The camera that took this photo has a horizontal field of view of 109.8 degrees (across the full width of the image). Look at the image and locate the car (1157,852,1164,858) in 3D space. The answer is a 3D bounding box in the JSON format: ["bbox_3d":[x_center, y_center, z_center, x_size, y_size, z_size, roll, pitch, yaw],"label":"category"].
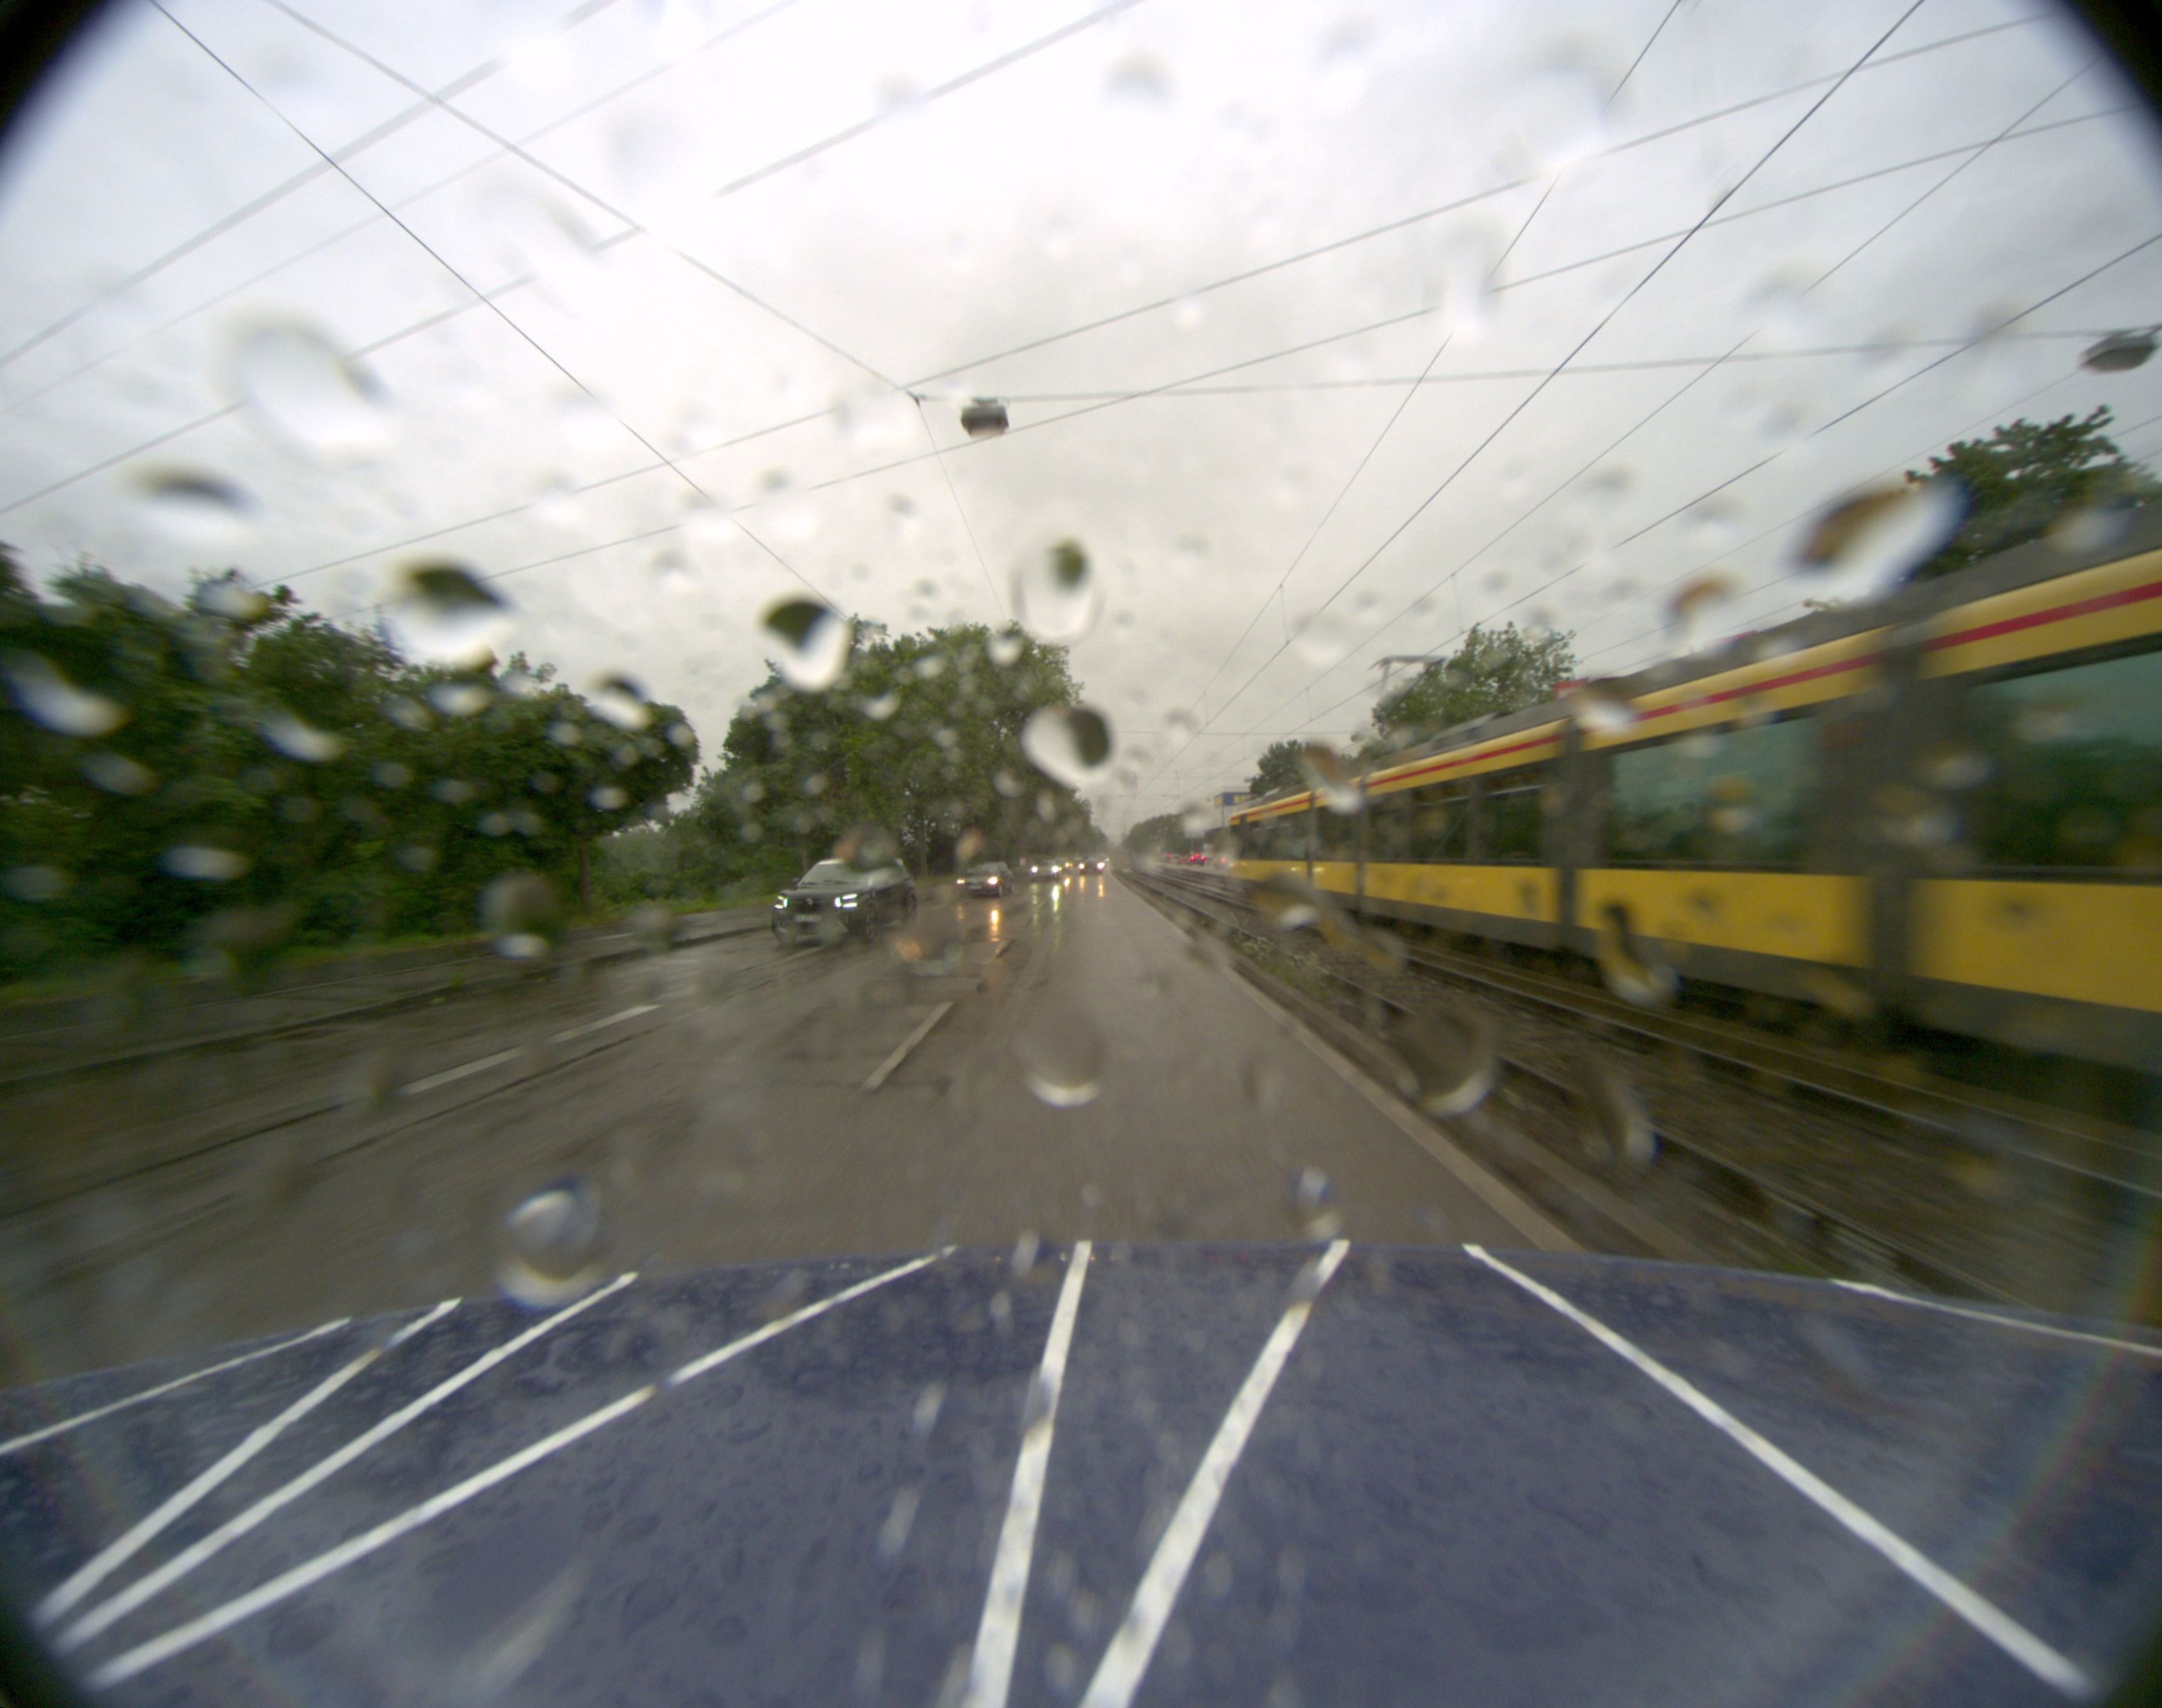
[{"bbox_3d":[20.654,0.213,196.970,1.648,1.536,4.001,0,0,4],"label":"car"}]

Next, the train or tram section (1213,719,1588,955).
[{"bbox_3d":[6.692,-0.202,21.150,2.872,3.683,17.890,-2,0,0],"label":"train or tram section"}]

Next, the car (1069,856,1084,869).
[{"bbox_3d":[-0.502,1.062,98.546,1.846,1.572,3.838,-2,0,0],"label":"car"}]

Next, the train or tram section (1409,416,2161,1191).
[{"bbox_3d":[6.584,-0.281,2.097,2.893,3.683,19.530,-2,0,0],"label":"train or tram section"}]

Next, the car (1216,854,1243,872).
[{"bbox_3d":[14.732,0.886,75.661,1.892,1.632,4.398,-2,0,2],"label":"car"}]

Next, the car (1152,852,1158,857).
[{"bbox_3d":[22.491,0.262,231.594,1.569,1.536,4.002,-2,-1,5],"label":"car"}]

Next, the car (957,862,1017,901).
[{"bbox_3d":[-3.719,1.050,30.735,1.784,1.419,4.001,-1,0,2],"label":"car"}]

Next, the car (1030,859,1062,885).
[{"bbox_3d":[-2.172,1.118,47.953,1.807,1.521,3.645,-2,0,0],"label":"car"}]

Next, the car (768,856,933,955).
[{"bbox_3d":[-4.575,0.933,15.902,1.797,1.692,4.764,-2,0,2],"label":"car"}]

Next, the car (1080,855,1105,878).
[{"bbox_3d":[0.926,0.983,59.019,1.815,1.692,4.001,-1,0,2],"label":"car"}]

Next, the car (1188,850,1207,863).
[{"bbox_3d":[16.009,0.336,104.701,1.942,1.642,4.872,0,0,2],"label":"car"}]

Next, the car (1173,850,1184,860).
[{"bbox_3d":[18.336,0.141,142.915,1.845,1.898,4.001,0,0,2],"label":"car"}]

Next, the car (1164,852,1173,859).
[{"bbox_3d":[20.582,0.398,178.416,1.708,1.536,4.001,0,0,2],"label":"car"}]

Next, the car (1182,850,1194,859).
[{"bbox_3d":[17.673,0.130,125.681,1.707,1.445,4.002,0,0,5],"label":"car"}]
